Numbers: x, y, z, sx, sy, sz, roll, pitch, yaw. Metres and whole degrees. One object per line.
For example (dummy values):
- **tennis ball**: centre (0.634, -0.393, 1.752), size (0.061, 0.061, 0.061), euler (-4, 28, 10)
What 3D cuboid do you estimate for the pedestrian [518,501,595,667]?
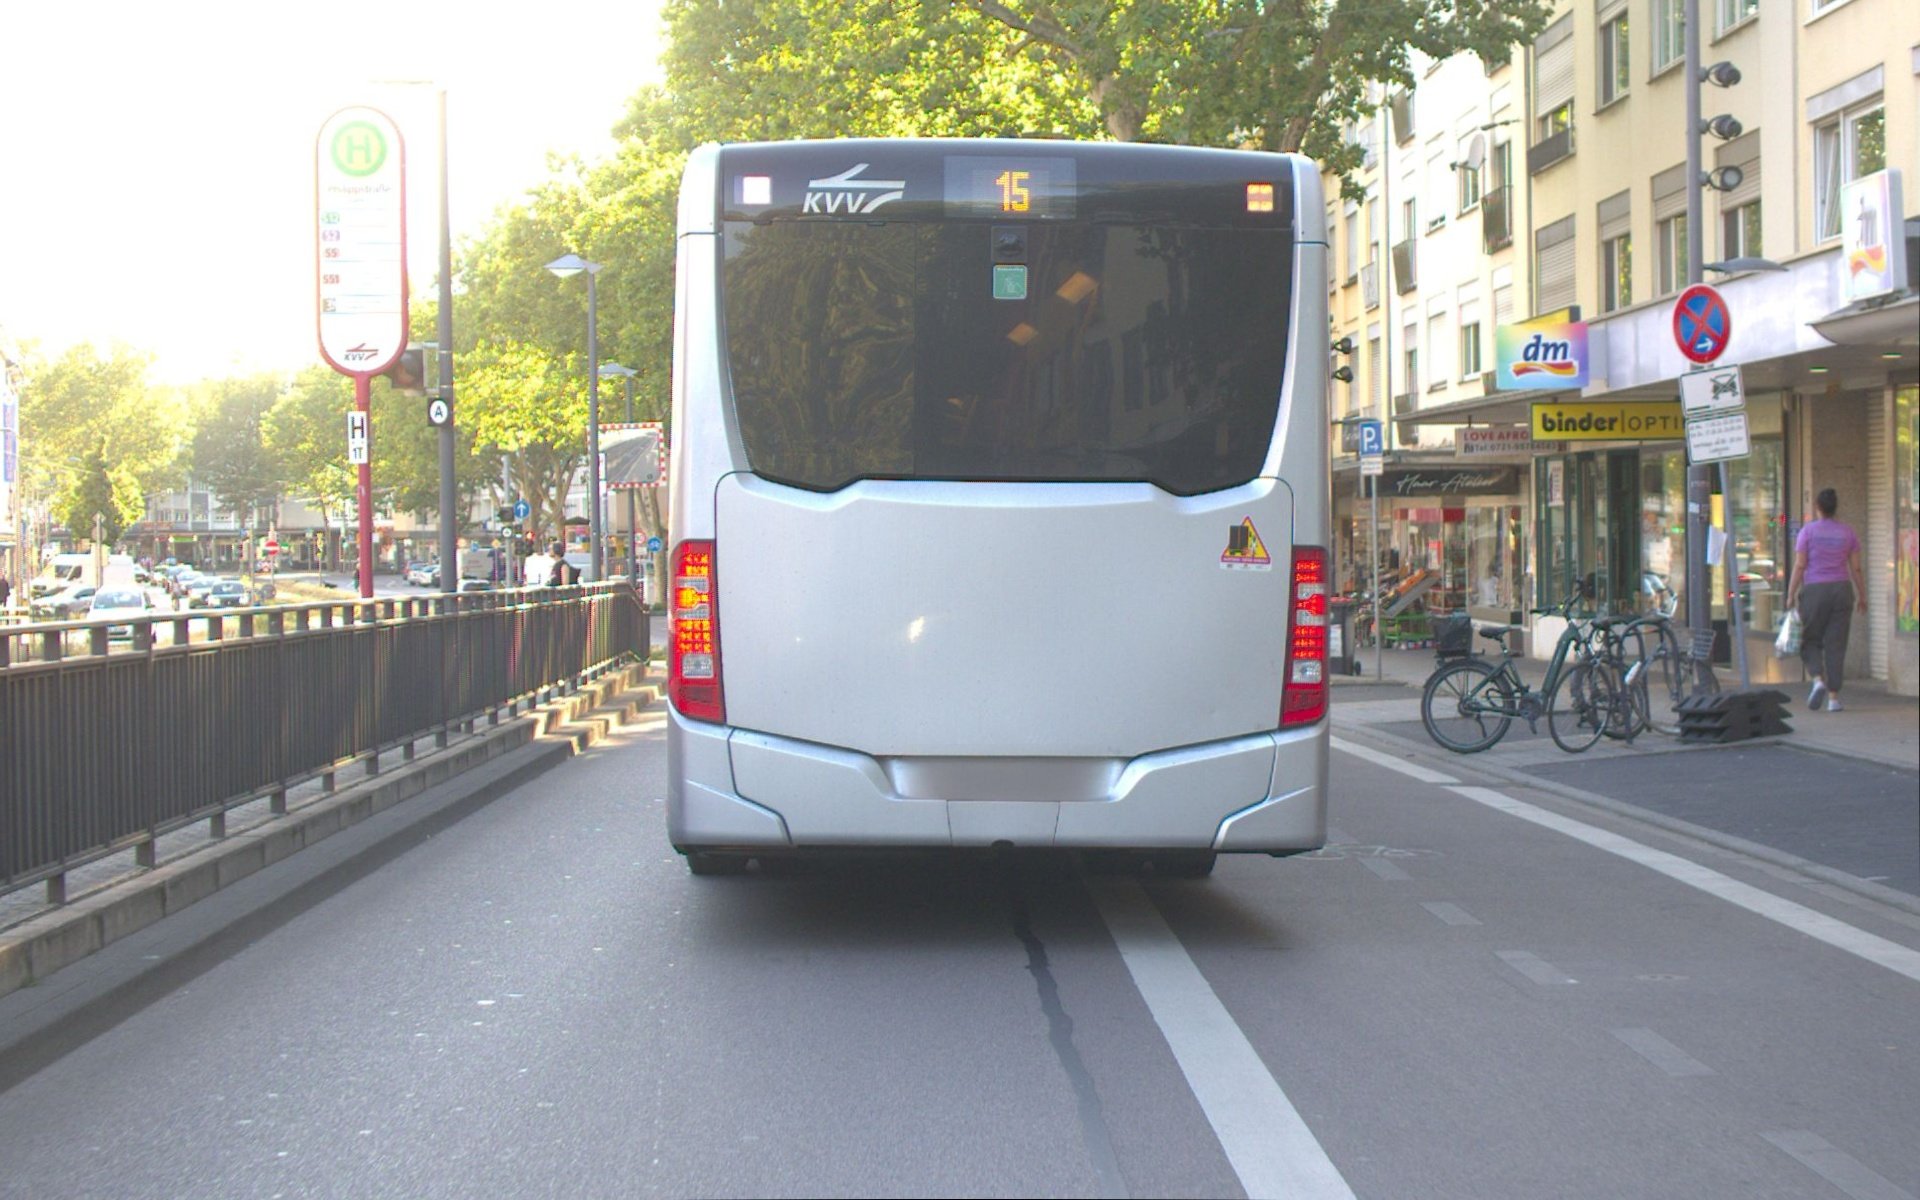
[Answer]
- **pedestrian**: centre (-6.263, -0.251, 53.364), size (0.889, 2.537, 1.163), euler (-1, 1, 6)

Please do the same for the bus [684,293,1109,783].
- **bus**: centre (-0.722, -0.491, 26.441), size (2.696, 3.107, 9.072), euler (0, 1, -4)

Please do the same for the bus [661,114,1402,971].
- **bus**: centre (-0.061, -0.309, 17.235), size (2.696, 3.107, 9.383), euler (0, 1, -4)

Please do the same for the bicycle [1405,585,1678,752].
- **bicycle**: centre (4.429, 0.514, 26.276), size (1.887, 1.073, 0.754), euler (-5, 1, 3)

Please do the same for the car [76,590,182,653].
- **car**: centre (-23.257, 0.581, 96.327), size (1.993, 1.645, 4.000), euler (-1, 1, -1)

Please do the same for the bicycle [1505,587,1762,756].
- **bicycle**: centre (4.972, 0.518, 25.377), size (1.703, 1.073, 0.592), euler (-6, 1, -17)

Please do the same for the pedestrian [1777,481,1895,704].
- **pedestrian**: centre (7.178, -0.068, 28.201), size (0.723, 1.789, 0.766), euler (-1, 1, -1)
